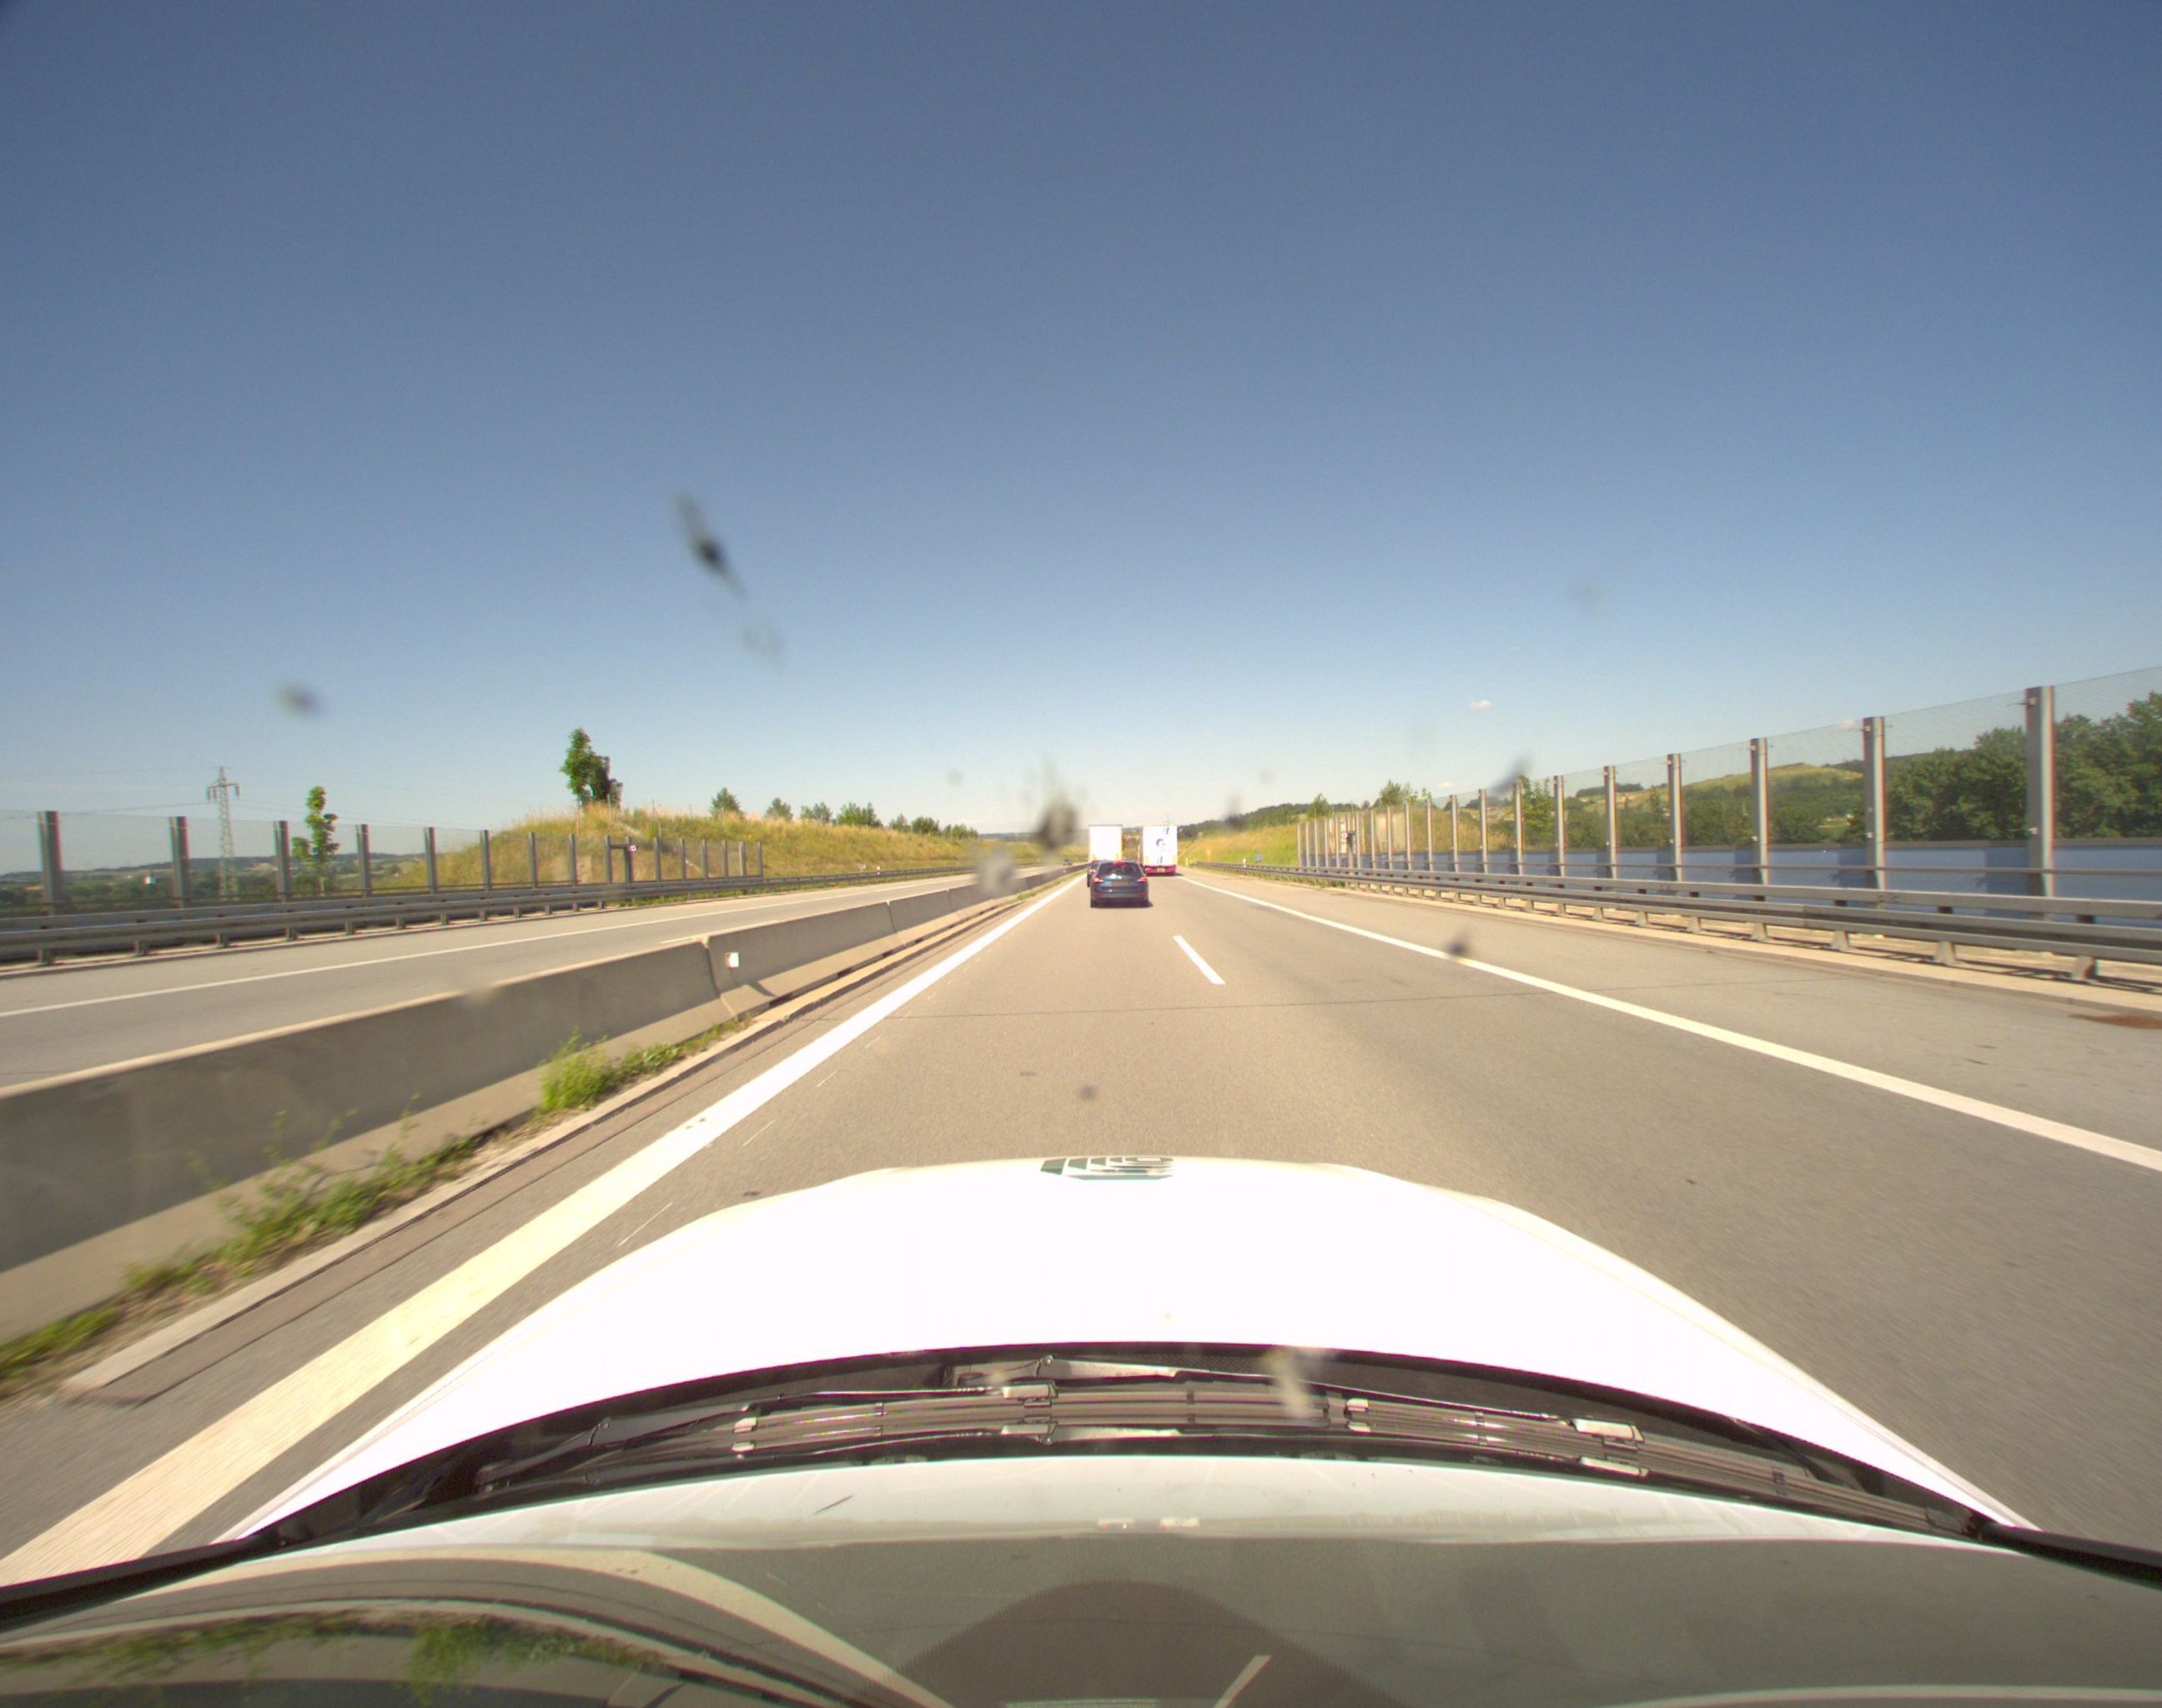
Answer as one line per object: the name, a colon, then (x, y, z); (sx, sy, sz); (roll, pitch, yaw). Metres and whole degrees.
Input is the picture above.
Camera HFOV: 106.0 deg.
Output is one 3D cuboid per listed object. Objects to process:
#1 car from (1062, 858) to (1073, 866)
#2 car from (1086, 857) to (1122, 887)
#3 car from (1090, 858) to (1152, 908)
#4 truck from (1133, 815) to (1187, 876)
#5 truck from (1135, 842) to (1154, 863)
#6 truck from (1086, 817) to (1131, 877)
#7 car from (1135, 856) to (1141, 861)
car: (-2.663, 1.518, 160.646); (1.739, 1.356, 4.002); (-4, 0, 2)
car: (1.190, 0.935, 44.304); (1.695, 1.441, 3.998); (-3, 0, -1)
car: (1.209, 0.866, 25.738); (1.770, 1.441, 3.789); (-1, 0, 1)
truck: (6.348, -0.658, 67.154); (3.590, 4.381, 11.240); (-3, 0, 2)
truck: (14.372, -0.382, 184.286); (3.590, 4.381, 11.240); (-3, 0, 2)
truck: (2.376, -0.489, 67.622); (3.198, 4.381, 11.241); (-3, 0, 3)
car: (16.736, 1.318, 239.977); (1.694, 1.441, 4.001); (-1, 0, 1)
